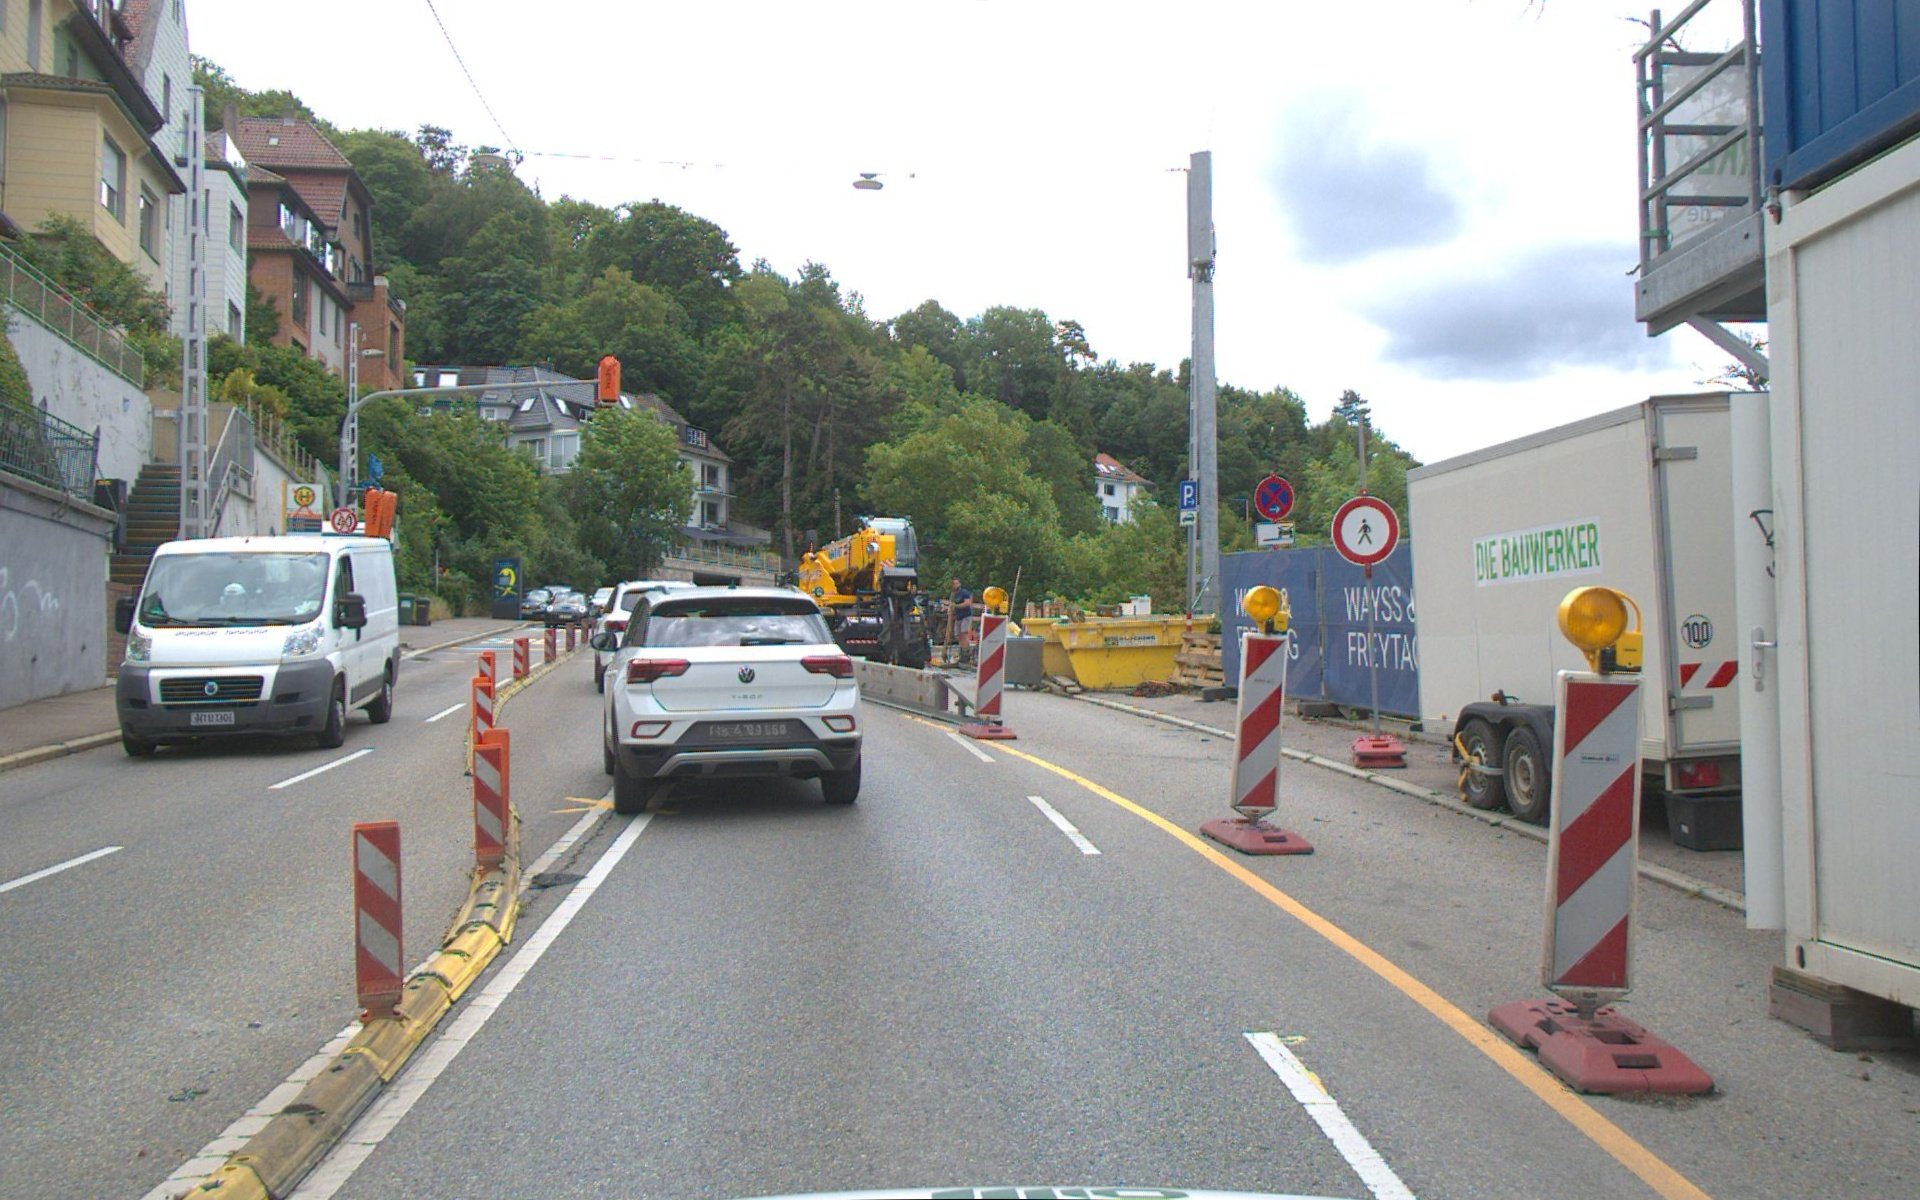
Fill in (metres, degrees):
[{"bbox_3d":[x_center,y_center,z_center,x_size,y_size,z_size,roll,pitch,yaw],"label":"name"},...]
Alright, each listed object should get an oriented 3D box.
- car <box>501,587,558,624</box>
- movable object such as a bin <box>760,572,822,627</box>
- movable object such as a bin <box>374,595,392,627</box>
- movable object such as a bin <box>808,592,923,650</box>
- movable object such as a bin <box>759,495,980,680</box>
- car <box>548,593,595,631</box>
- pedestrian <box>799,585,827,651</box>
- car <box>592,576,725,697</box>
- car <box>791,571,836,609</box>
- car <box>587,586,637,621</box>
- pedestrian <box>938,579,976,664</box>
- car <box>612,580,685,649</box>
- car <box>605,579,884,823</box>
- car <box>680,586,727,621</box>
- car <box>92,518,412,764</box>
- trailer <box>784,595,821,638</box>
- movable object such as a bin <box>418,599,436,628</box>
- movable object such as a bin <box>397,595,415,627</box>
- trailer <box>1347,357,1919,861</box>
[{"bbox_3d":[-19.154,0.223,73.682,1.759,1.536,3.996,3,0,-5],"label":"car"},{"bbox_3d":[-8.592,-0.055,84.613,2.165,2.709,4.948,1,0,6],"label":"movable object such as a bin"},{"bbox_3d":[-19.399,0.360,55.624,0.459,1.072,0.622,2,0,-11],"label":"movable object such as a bin"},{"bbox_3d":[-2.937,0.580,49.635,2.333,1.589,7.077,1,0,-12],"label":"movable object such as a bin"},{"bbox_3d":[-1.983,-0.228,32.075,2.765,3.124,7.792,1,0,-15],"label":"movable object such as a bin"},{"bbox_3d":[-15.461,0.472,65.936,1.641,1.455,3.578,-1,0,-11],"label":"car"},{"bbox_3d":[-3.951,0.474,44.371,0.633,1.731,0.848,1,0,-11],"label":"pedestrian"},{"bbox_3d":[-4.722,0.507,25.550,1.779,1.692,3.986,-1,0,-14],"label":"car"},{"bbox_3d":[-6.223,-0.399,70.125,1.760,1.537,3.994,0,0,-7],"label":"car"},{"bbox_3d":[-16.714,0.170,79.695,1.806,1.627,4.259,0,0,-4],"label":"car"},{"bbox_3d":[-0.062,0.465,36.084,0.680,1.826,0.536,0,1,-24],"label":"pedestrian"},{"bbox_3d":[-8.229,0.354,43.595,1.778,1.692,3.988,-1,0,-12],"label":"car"},{"bbox_3d":[-1.828,0.651,12.914,1.778,1.558,3.987,-1,0,-13],"label":"car"},{"bbox_3d":[-12.869,0.147,83.073,1.773,1.692,3.999,-1,0,-1],"label":"car"},{"bbox_3d":[-7.447,0.348,17.987,2.030,2.225,4.951,-2,1,-10],"label":"car"},{"bbox_3d":[-5.715,0.588,60.338,1.263,1.501,3.630,1,0,-4],"label":"trailer"},{"bbox_3d":[-18.012,0.453,55.896,0.459,0.950,0.622,2,0,-11],"label":"movable object such as a bin"},{"bbox_3d":[-18.685,0.372,55.773,0.459,1.072,0.622,2,0,-11],"label":"movable object such as a bin"},{"bbox_3d":[4.569,0.009,11.251,2.067,2.594,5.111,-2,0,-7],"label":"trailer"}]
